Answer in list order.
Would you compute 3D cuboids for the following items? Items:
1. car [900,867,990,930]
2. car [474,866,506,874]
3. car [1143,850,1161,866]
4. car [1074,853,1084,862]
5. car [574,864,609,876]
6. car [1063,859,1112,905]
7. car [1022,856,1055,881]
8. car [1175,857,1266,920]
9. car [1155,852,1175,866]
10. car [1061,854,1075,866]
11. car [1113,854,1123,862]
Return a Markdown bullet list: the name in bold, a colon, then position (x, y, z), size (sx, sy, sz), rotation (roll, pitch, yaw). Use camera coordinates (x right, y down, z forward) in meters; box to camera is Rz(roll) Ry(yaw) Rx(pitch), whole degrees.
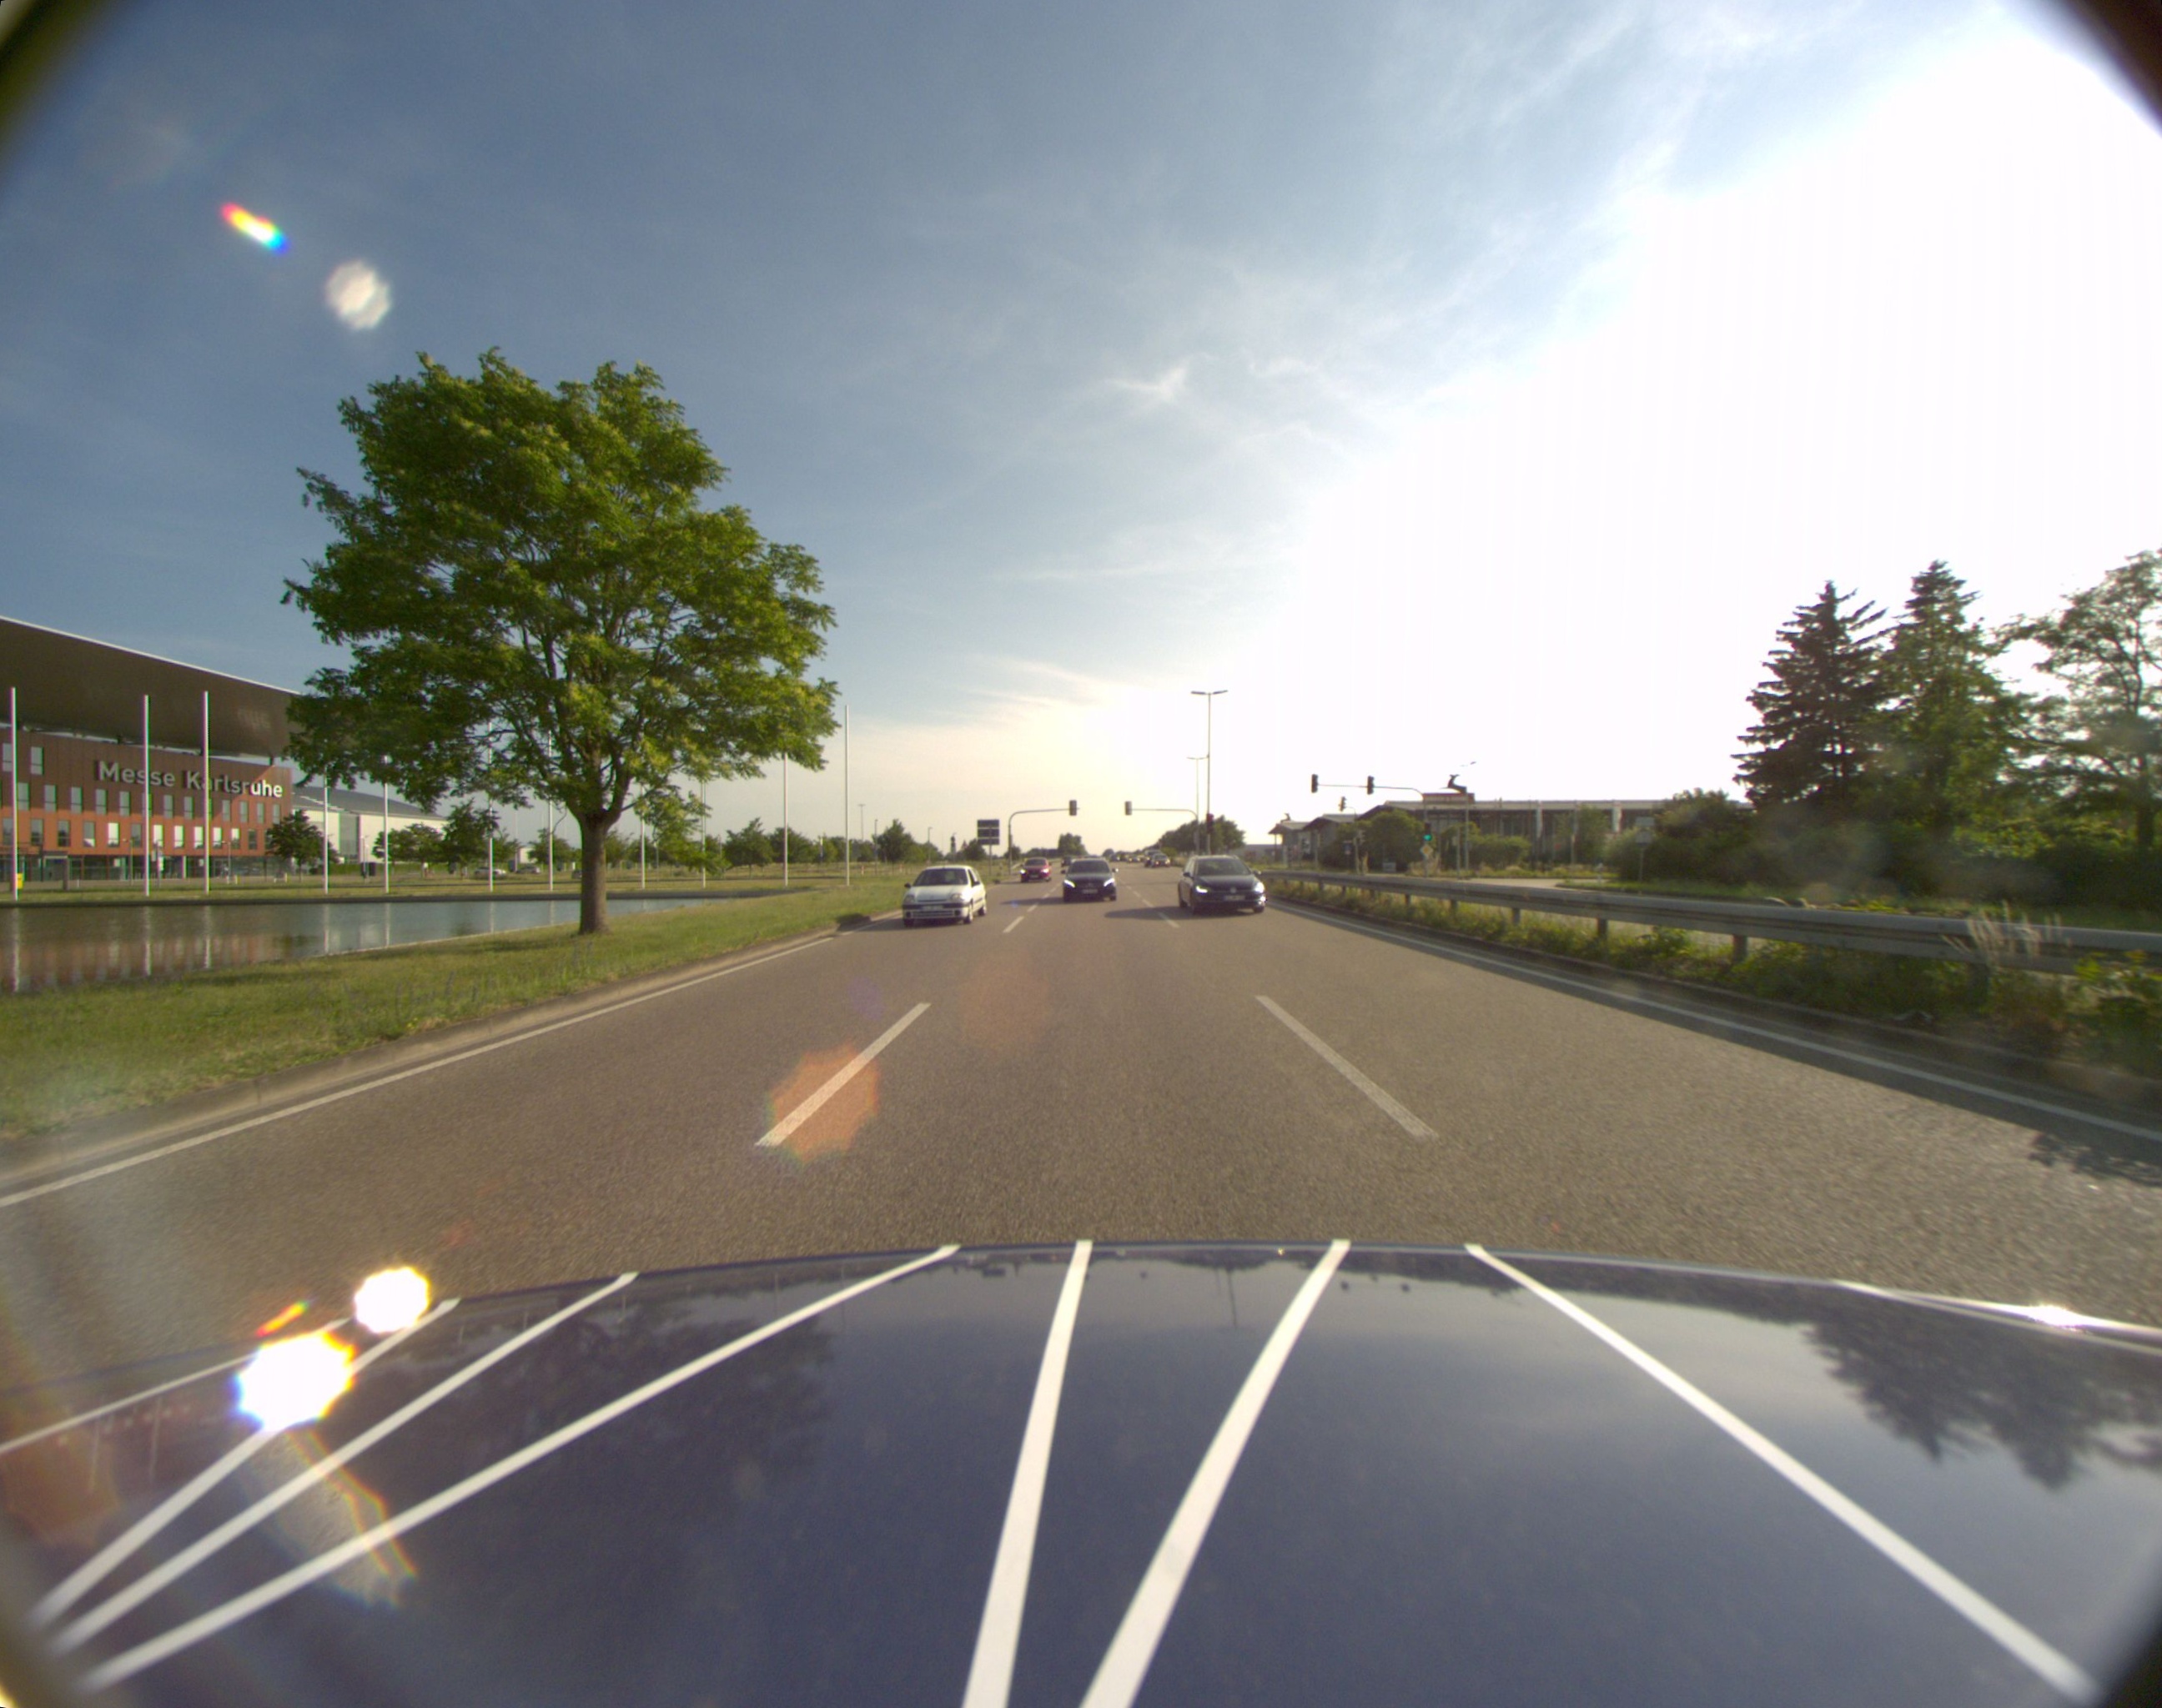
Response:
- **car**: position (-3.332, 1.046, 19.212), size (1.578, 1.371, 3.452), rotation (-1, 0, 1)
- **car**: position (-102.669, 2.698, 131.966), size (4.209, 1.272, 1.486), rotation (-1, 0, -2)
- **car**: position (8.121, 0.443, 86.901), size (1.650, 1.823, 4.226), rotation (-1, 0, 1)
- **car**: position (-0.417, 0.617, 140.376), size (1.751, 1.512, 3.739), rotation (-1, 0, 1)
- **car**: position (-62.036, 2.009, 96.310), size (1.709, 1.447, 3.568), rotation (-1, 0, 12)
- **car**: position (0.276, 0.924, 27.436), size (1.576, 1.462, 5.022), rotation (-1, 0, 1)
- **car**: position (-2.648, 0.897, 48.123), size (1.751, 1.512, 3.739), rotation (-1, 0, 1)
- **car**: position (3.612, 0.820, 20.443), size (1.650, 1.462, 4.776), rotation (-1, 0, 1)
- **car**: position (8.841, 0.509, 80.401), size (1.711, 1.428, 3.565), rotation (-1, 0, 1)
- **car**: position (-1.822, 0.821, 107.026), size (1.751, 1.512, 3.739), rotation (-1, 0, 1)
- **car**: position (7.419, 0.717, 152.317), size (1.751, 1.512, 3.739), rotation (-1, 0, -1)
